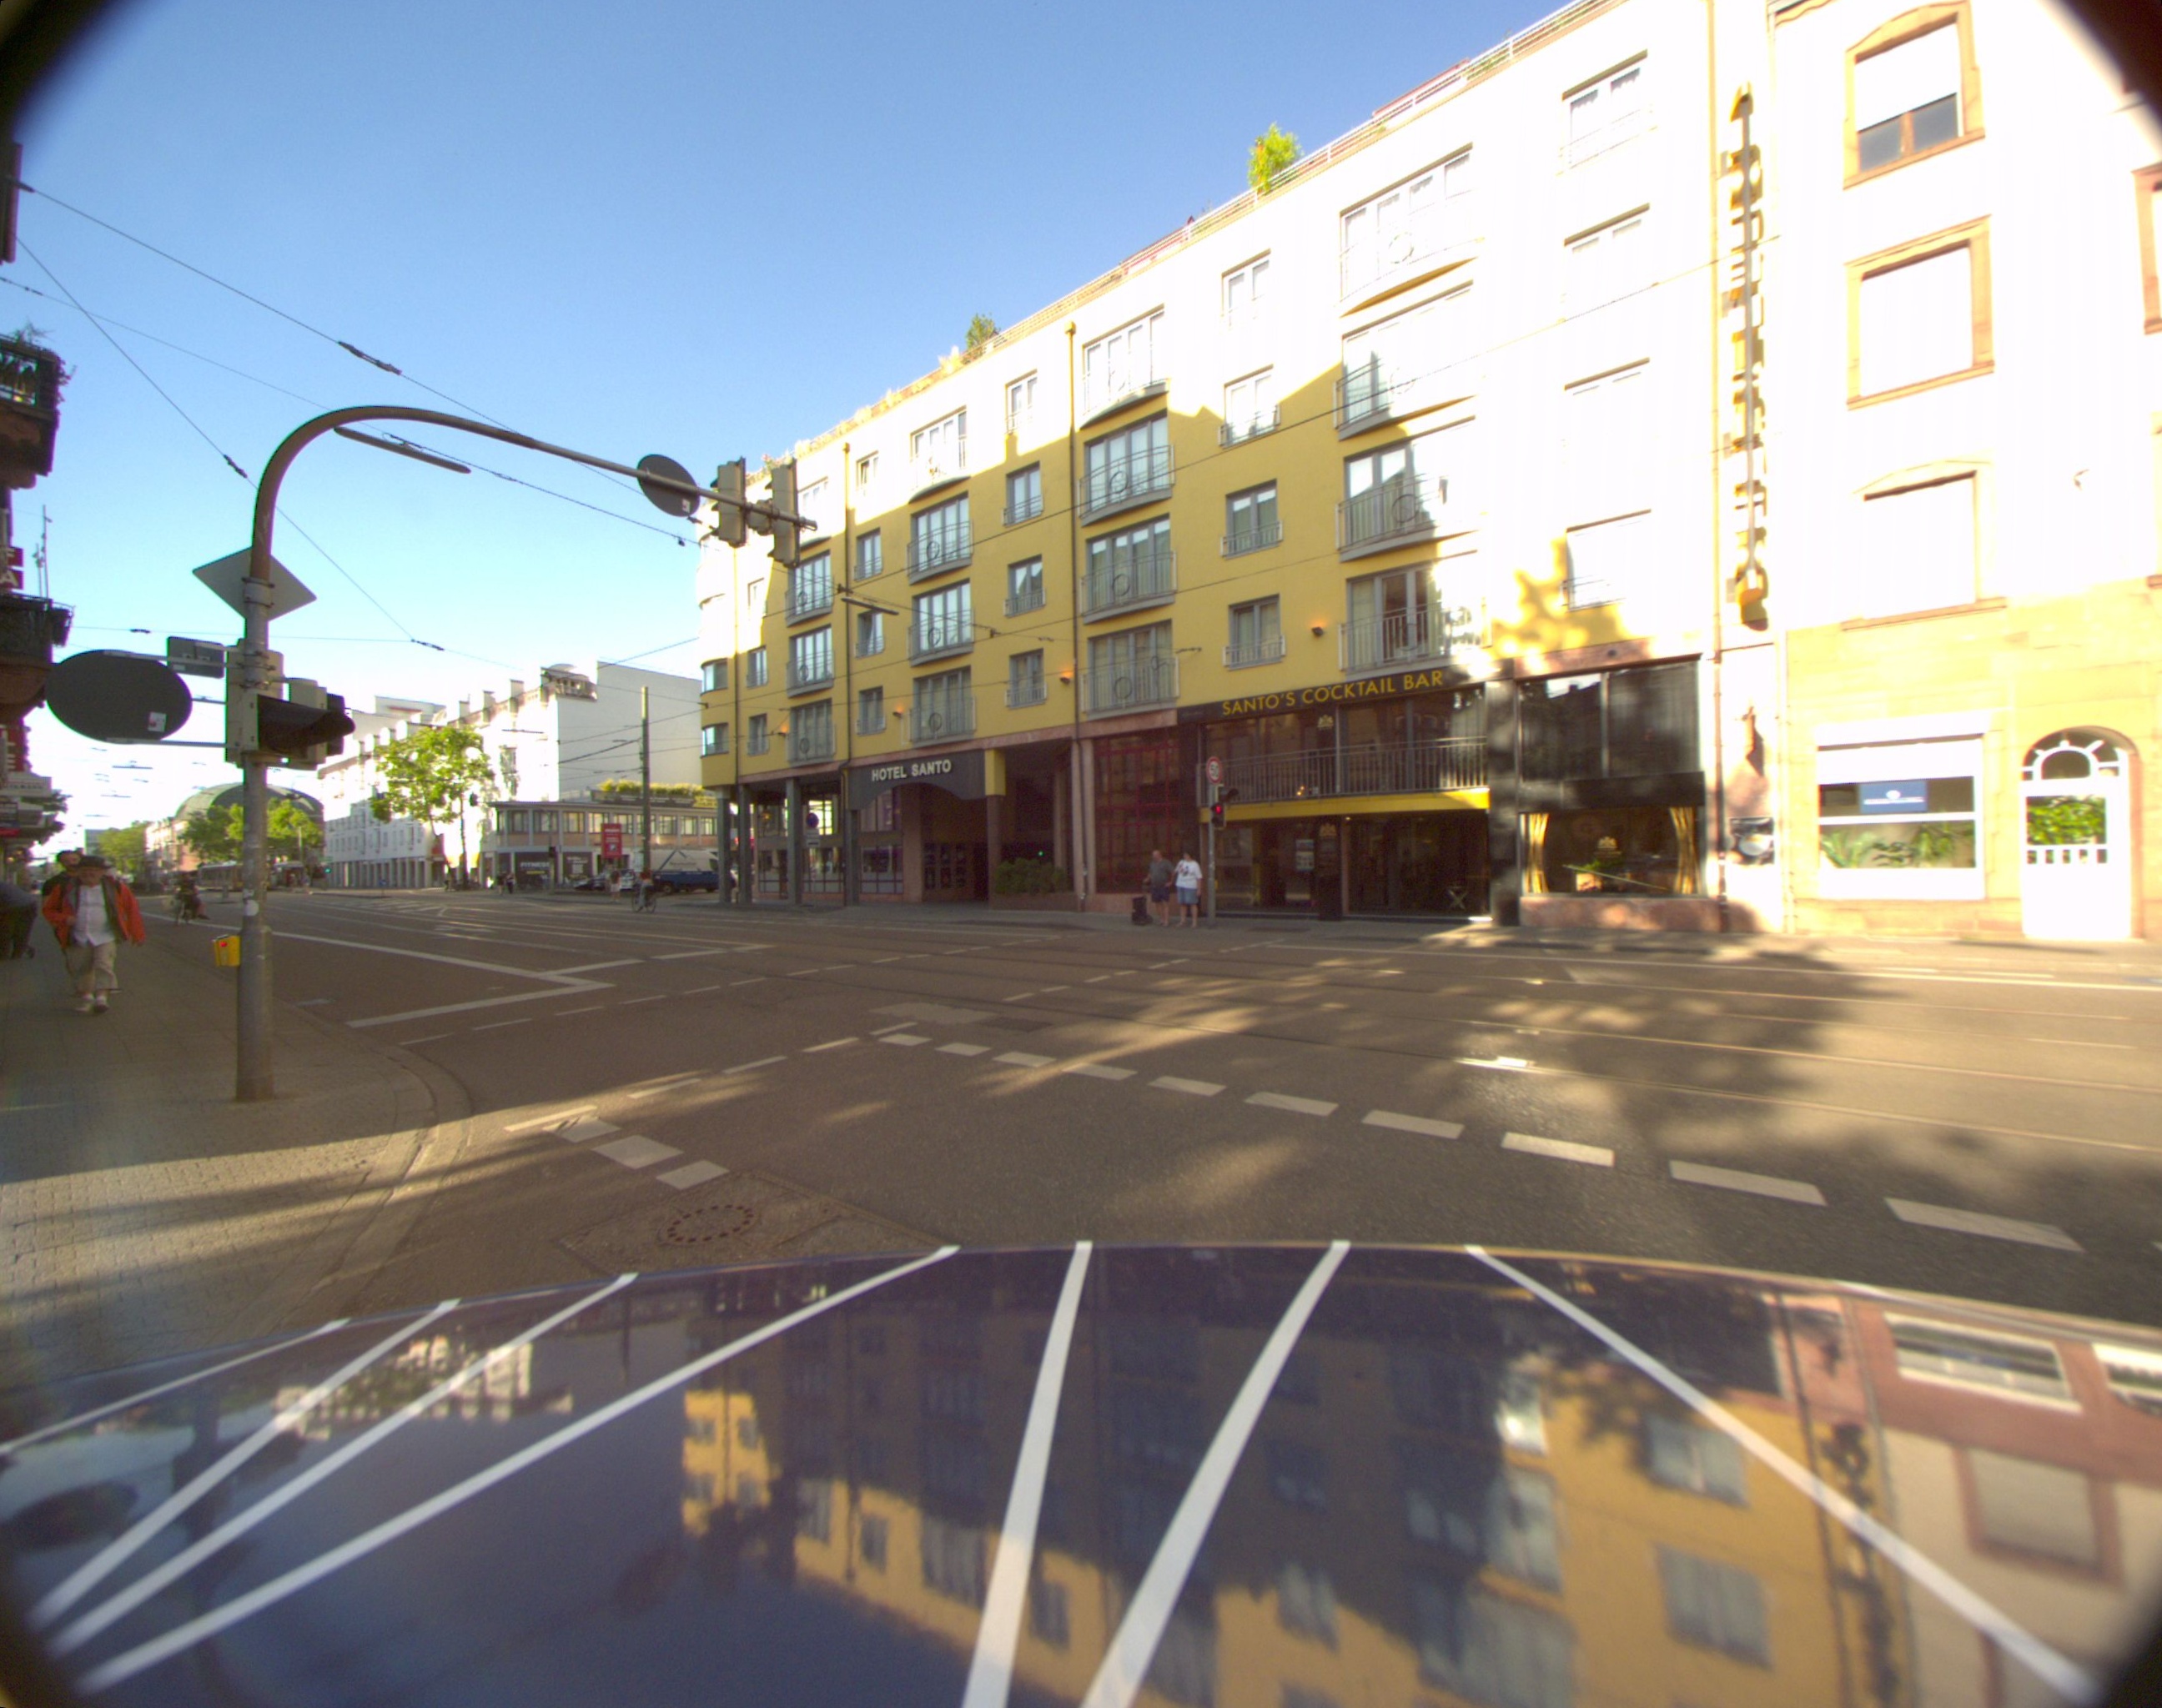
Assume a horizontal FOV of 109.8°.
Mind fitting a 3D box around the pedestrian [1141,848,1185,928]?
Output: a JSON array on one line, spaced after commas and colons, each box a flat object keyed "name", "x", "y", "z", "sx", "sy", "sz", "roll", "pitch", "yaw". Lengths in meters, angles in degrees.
[{"name": "pedestrian", "x": 1.959, "y": 0.793, "z": 18.096, "sx": 0.677, "sy": 1.830, "sz": 0.728, "roll": -1, "pitch": 4, "yaw": 36}]

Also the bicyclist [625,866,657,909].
[{"name": "bicyclist", "x": -16.011, "y": 1.213, "z": 27.654, "sx": 0.754, "sy": 1.511, "sz": 0.680, "roll": -1, "pitch": 0, "yaw": 26}]

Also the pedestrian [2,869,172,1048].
[{"name": "pedestrian", "x": -10.363, "y": 1.011, "z": 7.958, "sx": 1.170, "sy": 1.670, "sz": 1.010, "roll": -1, "pitch": 0, "yaw": 38}]

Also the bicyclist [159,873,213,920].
[{"name": "bicyclist", "x": -30.238, "y": 1.426, "z": 25.683, "sx": 0.838, "sy": 1.529, "sz": 1.077, "roll": -1, "pitch": 0, "yaw": 35}]

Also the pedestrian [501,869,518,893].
[{"name": "pedestrian", "x": -39.048, "y": 1.822, "z": 51.932, "sx": 0.896, "sy": 1.596, "sz": 0.618, "roll": -1, "pitch": 0, "yaw": 33}]

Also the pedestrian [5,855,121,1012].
[{"name": "pedestrian", "x": -12.054, "y": 0.899, "z": 9.023, "sx": 0.600, "sy": 1.764, "sz": 0.753, "roll": -1, "pitch": 0, "yaw": 41}]

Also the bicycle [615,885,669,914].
[{"name": "bicycle", "x": -15.989, "y": 1.649, "z": 27.654, "sx": 1.958, "sy": 0.998, "sz": 0.680, "roll": -1, "pitch": 0, "yaw": 26}]

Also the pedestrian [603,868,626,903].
[{"name": "pedestrian", "x": -23.123, "y": 1.551, "z": 37.640, "sx": 0.688, "sy": 1.685, "sz": 0.727, "roll": -1, "pitch": 0, "yaw": 34}]

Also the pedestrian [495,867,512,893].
[{"name": "pedestrian", "x": -38.488, "y": 1.743, "z": 50.663, "sx": 0.896, "sy": 1.719, "sz": 0.618, "roll": -1, "pitch": 0, "yaw": 33}]

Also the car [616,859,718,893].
[{"name": "car", "x": -24.373, "y": 1.237, "z": 44.888, "sx": 2.054, "sy": 1.826, "sz": 4.830, "roll": -1, "pitch": 0, "yaw": 38}]

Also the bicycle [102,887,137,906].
[{"name": "bicycle", "x": -56.048, "y": 2.460, "z": 44.289, "sx": 3.053, "sy": 0.997, "sz": 1.077, "roll": -1, "pitch": 0, "yaw": 35}]

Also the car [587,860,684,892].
[{"name": "car", "x": -28.158, "y": 1.351, "z": 48.125, "sx": 2.054, "sy": 1.826, "sz": 4.830, "roll": -1, "pitch": 0, "yaw": 38}]

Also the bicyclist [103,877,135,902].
[{"name": "bicyclist", "x": -56.182, "y": 2.069, "z": 44.381, "sx": 0.836, "sy": 1.400, "sz": 1.077, "roll": -1, "pitch": 0, "yaw": 35}]

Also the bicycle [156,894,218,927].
[{"name": "bicycle", "x": -30.214, "y": 1.880, "z": 25.668, "sx": 3.053, "sy": 0.997, "sz": 1.077, "roll": -1, "pitch": 0, "yaw": 35}]

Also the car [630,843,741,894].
[{"name": "car", "x": -22.438, "y": 0.794, "z": 43.305, "sx": 2.054, "sy": 2.741, "sz": 5.159, "roll": -1, "pitch": 0, "yaw": 38}]

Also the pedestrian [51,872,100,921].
[{"name": "pedestrian", "x": -38.917, "y": 1.635, "z": 29.414, "sx": 0.723, "sy": 1.827, "sz": 0.901, "roll": -1, "pitch": 0, "yaw": 11}]

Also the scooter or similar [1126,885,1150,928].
[{"name": "scooter or similar", "x": 1.364, "y": 1.245, "z": 18.192, "sx": 0.356, "sy": 0.972, "sz": 0.423, "roll": -1, "pitch": 4, "yaw": 34}]

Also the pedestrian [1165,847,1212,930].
[{"name": "pedestrian", "x": 2.468, "y": 0.775, "z": 17.429, "sx": 0.733, "sy": 1.830, "sz": 0.728, "roll": -1, "pitch": 4, "yaw": 36}]

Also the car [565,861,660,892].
[{"name": "car", "x": -30.565, "y": 1.428, "z": 49.719, "sx": 2.054, "sy": 1.826, "sz": 4.830, "roll": -1, "pitch": 0, "yaw": 38}]

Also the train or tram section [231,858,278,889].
[{"name": "train or tram section", "x": -89.144, "y": 2.126, "z": 81.891, "sx": 10.014, "sy": 3.120, "sz": 2.285, "roll": -1, "pitch": 0, "yaw": 36}]
